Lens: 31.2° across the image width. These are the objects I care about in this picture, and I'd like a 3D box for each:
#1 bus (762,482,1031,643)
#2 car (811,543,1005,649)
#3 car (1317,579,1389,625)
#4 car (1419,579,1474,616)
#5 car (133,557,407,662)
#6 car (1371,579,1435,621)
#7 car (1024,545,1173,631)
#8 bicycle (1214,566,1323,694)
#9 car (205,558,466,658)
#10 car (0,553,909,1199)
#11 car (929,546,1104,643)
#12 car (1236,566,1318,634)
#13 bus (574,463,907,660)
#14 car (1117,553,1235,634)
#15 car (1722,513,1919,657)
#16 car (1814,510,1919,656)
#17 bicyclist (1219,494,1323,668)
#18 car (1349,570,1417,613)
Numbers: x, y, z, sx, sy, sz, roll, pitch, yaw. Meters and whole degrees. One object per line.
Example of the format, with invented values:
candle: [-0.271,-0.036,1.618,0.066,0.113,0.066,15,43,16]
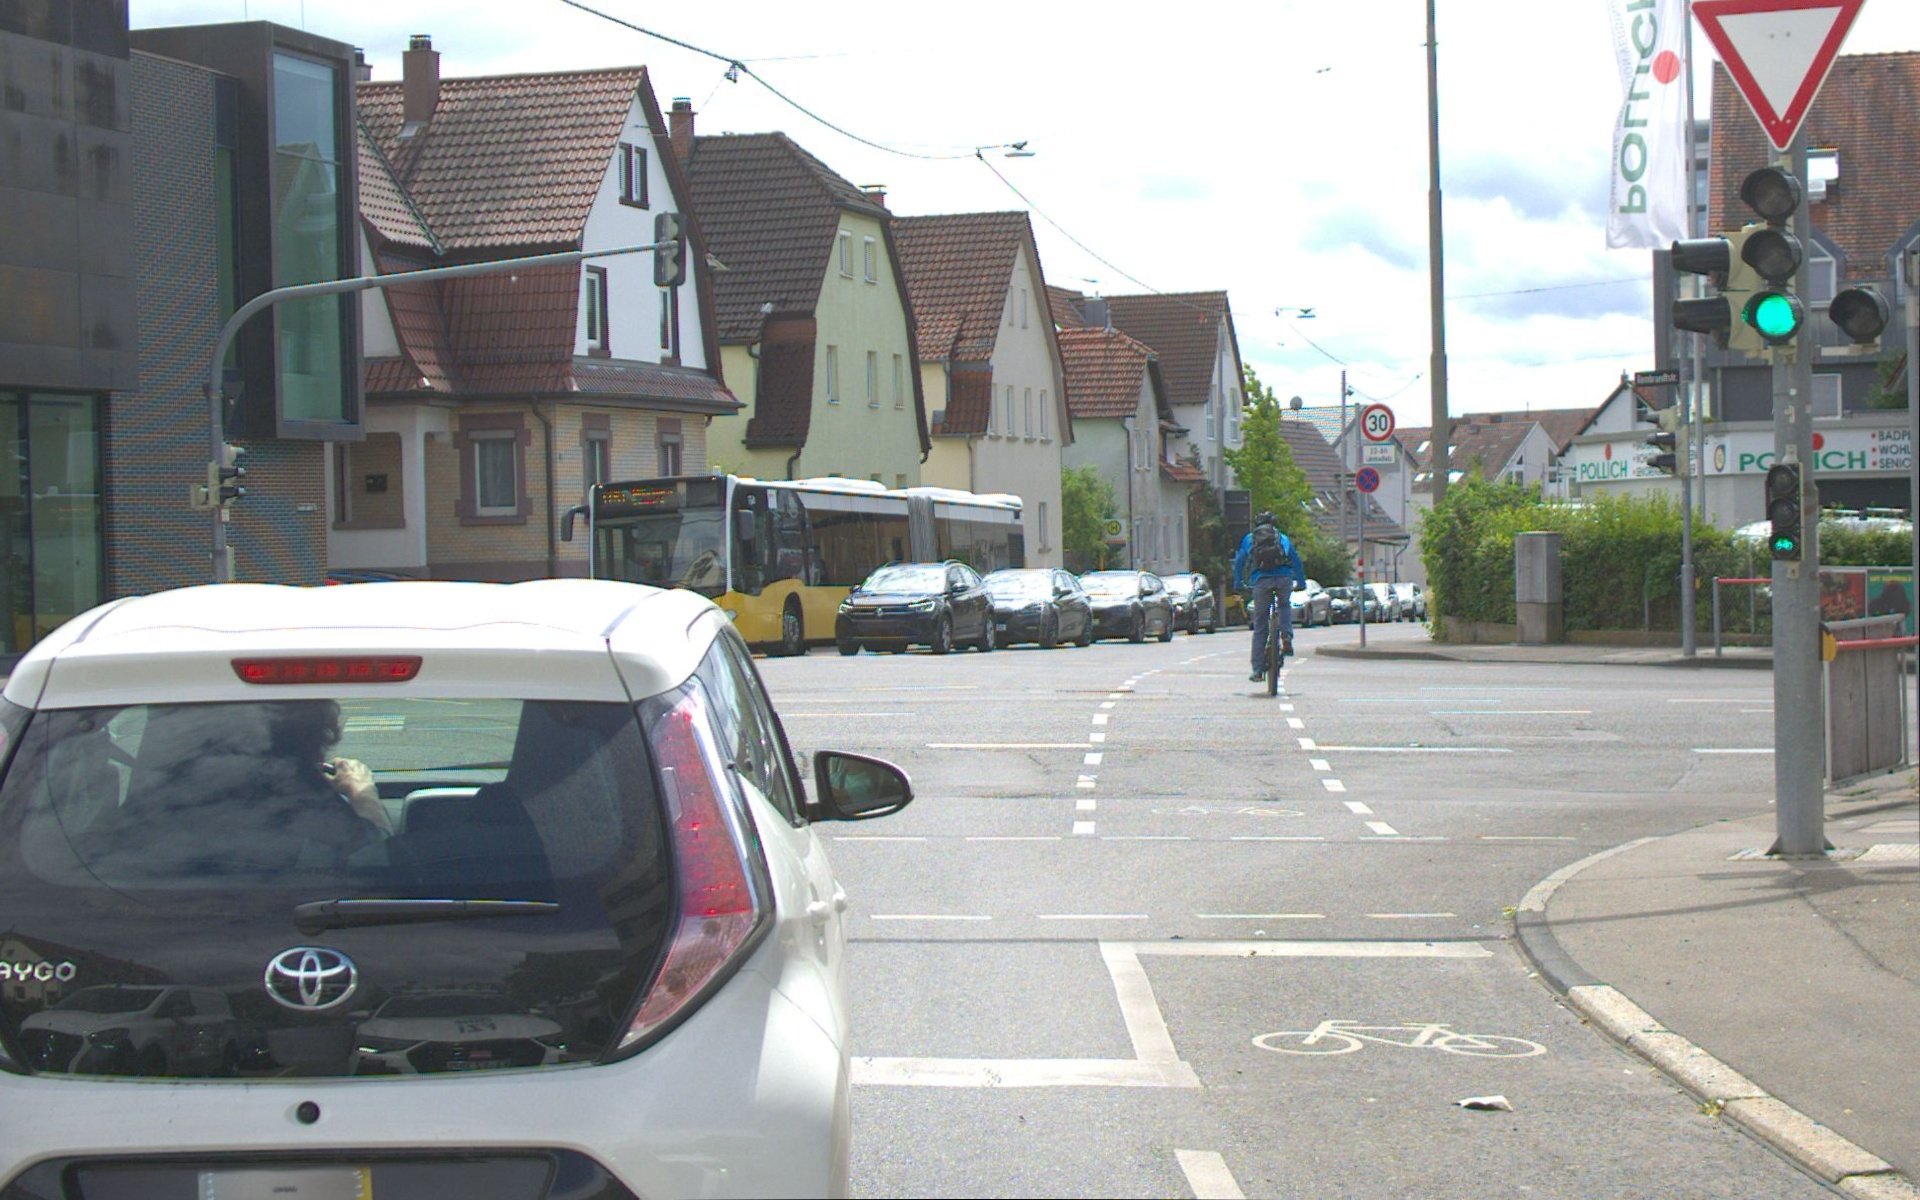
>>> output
bus: [-1.073,-0.767,66.903,2.780,2.904,9.185,0,1,15]
car: [-0.788,-0.097,55.324,1.995,1.634,3.997,0,1,17]
car: [14.768,0.050,129.010,1.995,1.634,3.997,0,1,17]
car: [22.983,-0.134,162.295,1.995,1.634,3.997,0,1,17]
car: [-11.480,0.134,57.311,3.989,1.634,1.999,1,1,13]
car: [18.196,-0.010,141.063,1.995,1.634,3.997,0,1,17]
car: [2.766,-0.269,67.944,1.995,1.634,3.997,0,1,17]
bicycle: [2.954,0.269,33.095,0.832,1.160,2.192,-1,1,0]
car: [-10.887,0.125,60.037,3.989,1.678,1.999,0,1,14]
car: [-1.025,0.653,6.680,1.738,1.455,3.533,0,1,-3]
car: [1.032,-0.130,60.449,1.995,1.634,4.180,0,1,17]
car: [9.666,-0.024,104.578,1.995,2.007,3.998,0,1,13]
bus: [-3.500,-0.685,57.934,2.780,3.049,9.185,0,1,15]
car: [5.614,-0.193,88.920,1.995,2.007,3.996,0,1,20]
car: [13.201,-0.230,49.259,3.986,2.007,2.001,0,1,-8]
car: [13.959,-0.244,46.940,3.986,1.941,2.001,0,0,-9]
bicyclist: [2.978,-0.186,33.022,0.840,1.609,1.083,2,1,0]
car: [16.679,-0.348,135.576,1.995,1.634,3.997,0,1,17]
